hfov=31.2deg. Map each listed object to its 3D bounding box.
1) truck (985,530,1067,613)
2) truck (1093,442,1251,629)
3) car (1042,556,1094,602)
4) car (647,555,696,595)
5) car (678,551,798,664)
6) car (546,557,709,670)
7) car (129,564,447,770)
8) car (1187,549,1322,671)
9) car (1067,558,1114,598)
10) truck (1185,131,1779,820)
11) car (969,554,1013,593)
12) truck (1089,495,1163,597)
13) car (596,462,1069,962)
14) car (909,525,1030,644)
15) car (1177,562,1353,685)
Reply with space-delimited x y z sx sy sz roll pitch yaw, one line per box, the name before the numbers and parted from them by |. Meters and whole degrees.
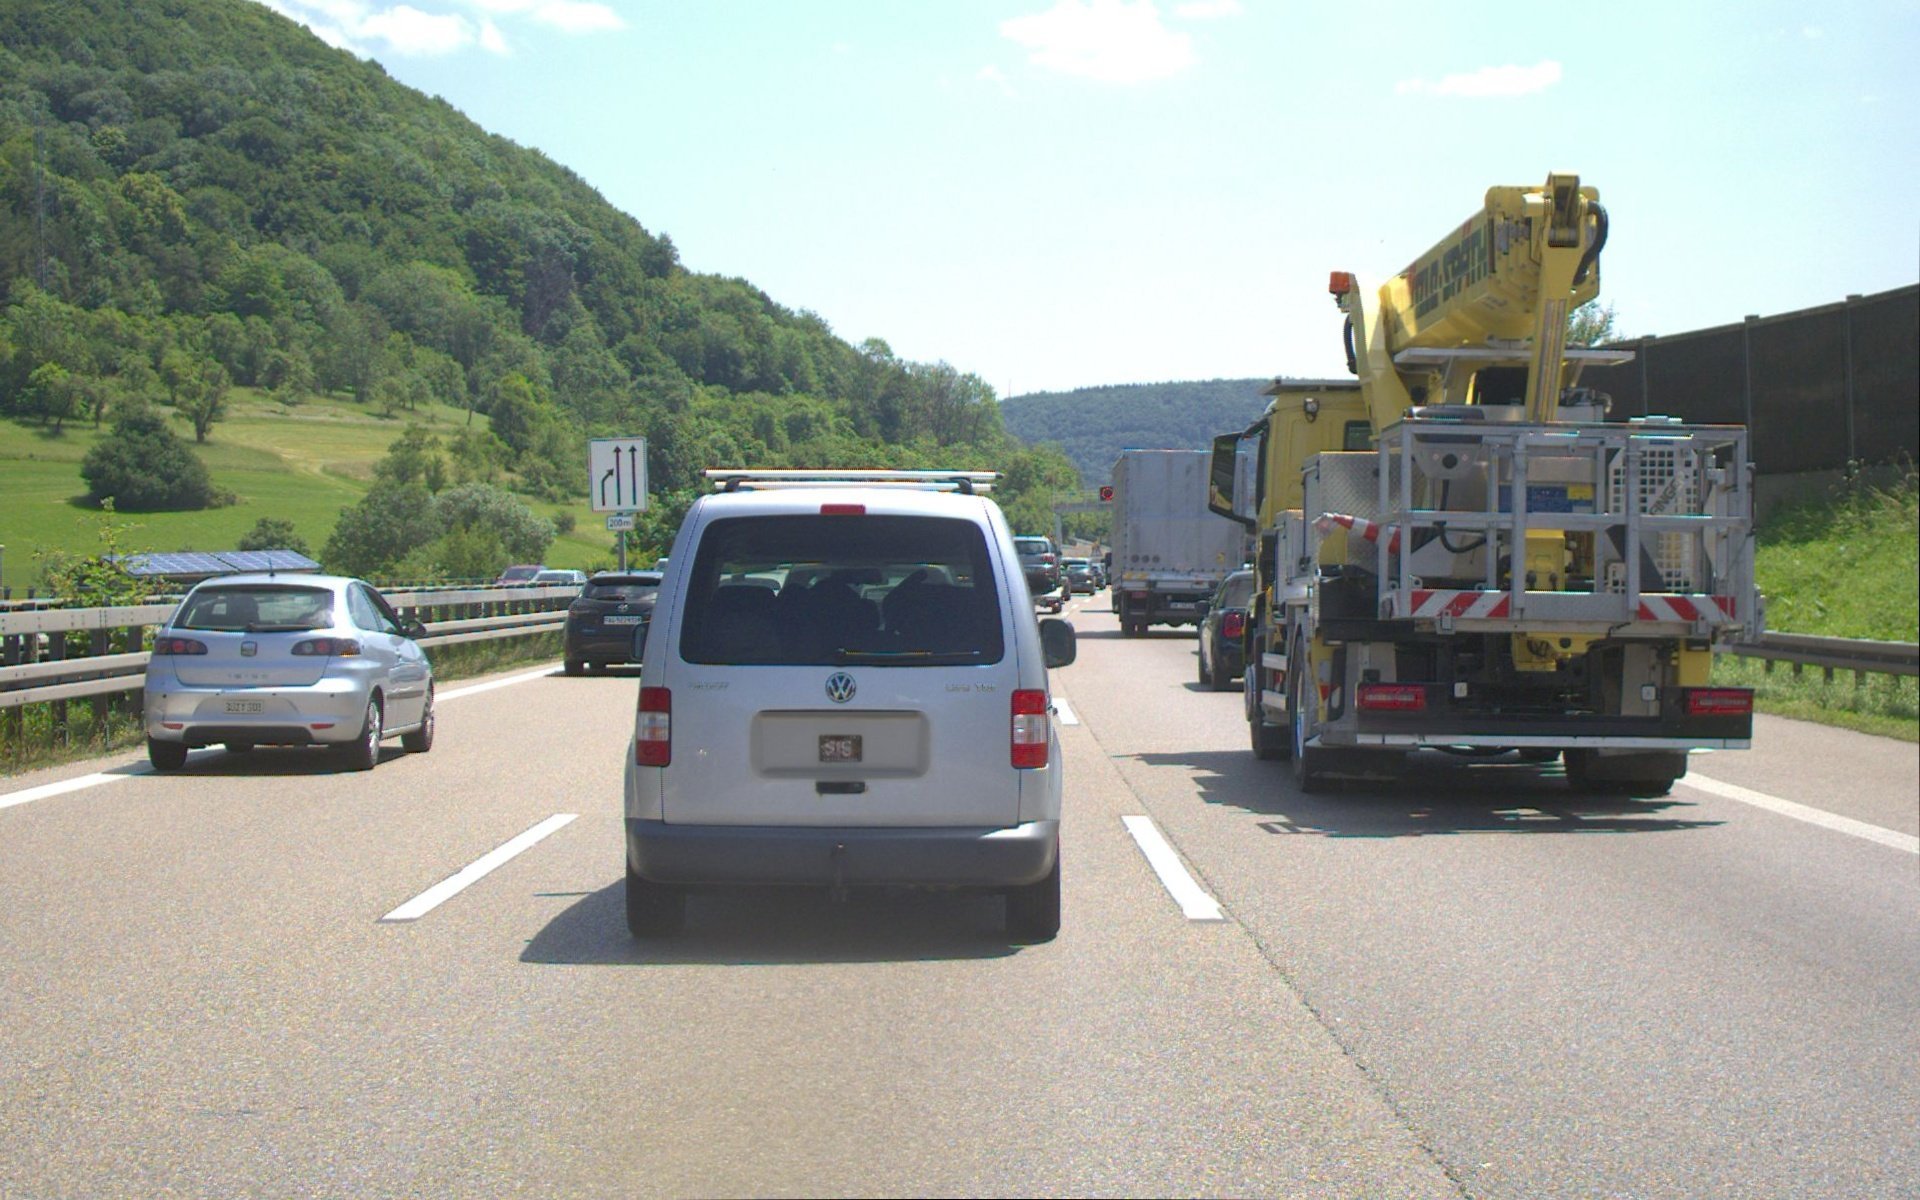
truck | 2.033 -0.895 107.866 2.390 2.532 5.940 0 1 -1
truck | 4.498 -1.334 74.612 2.940 3.810 8.236 1 0 0
car | 4.360 -0.856 139.010 1.993 1.799 4.000 1 0 0
car | -14.377 -1.263 171.600 2.060 1.935 4.661 0 1 0
car | -4.069 0.111 63.582 1.993 2.007 4.000 -1 1 -1
car | -4.566 0.154 47.704 1.925 1.494 4.000 1 1 -1
car | -5.038 0.454 26.240 1.695 1.440 3.862 0 1 0
car | 4.968 0.141 58.542 1.993 2.007 4.000 0 1 1
car | 6.025 -1.022 159.057 1.993 1.799 4.000 1 0 0
truck | 3.275 -0.763 24.029 2.704 3.929 8.722 0 1 -1
car | 1.460 -1.255 161.977 1.993 1.799 4.000 1 0 0
truck | 5.473 -1.747 114.013 1.993 3.240 6.800 1 0 -1
car | -0.502 0.394 14.834 1.756 1.861 4.000 0 1 -1
car | 0.123 -0.280 58.892 1.993 1.969 4.000 0 1 -1
car | 3.724 0.258 42.507 1.786 1.453 3.771 0 1 -1
